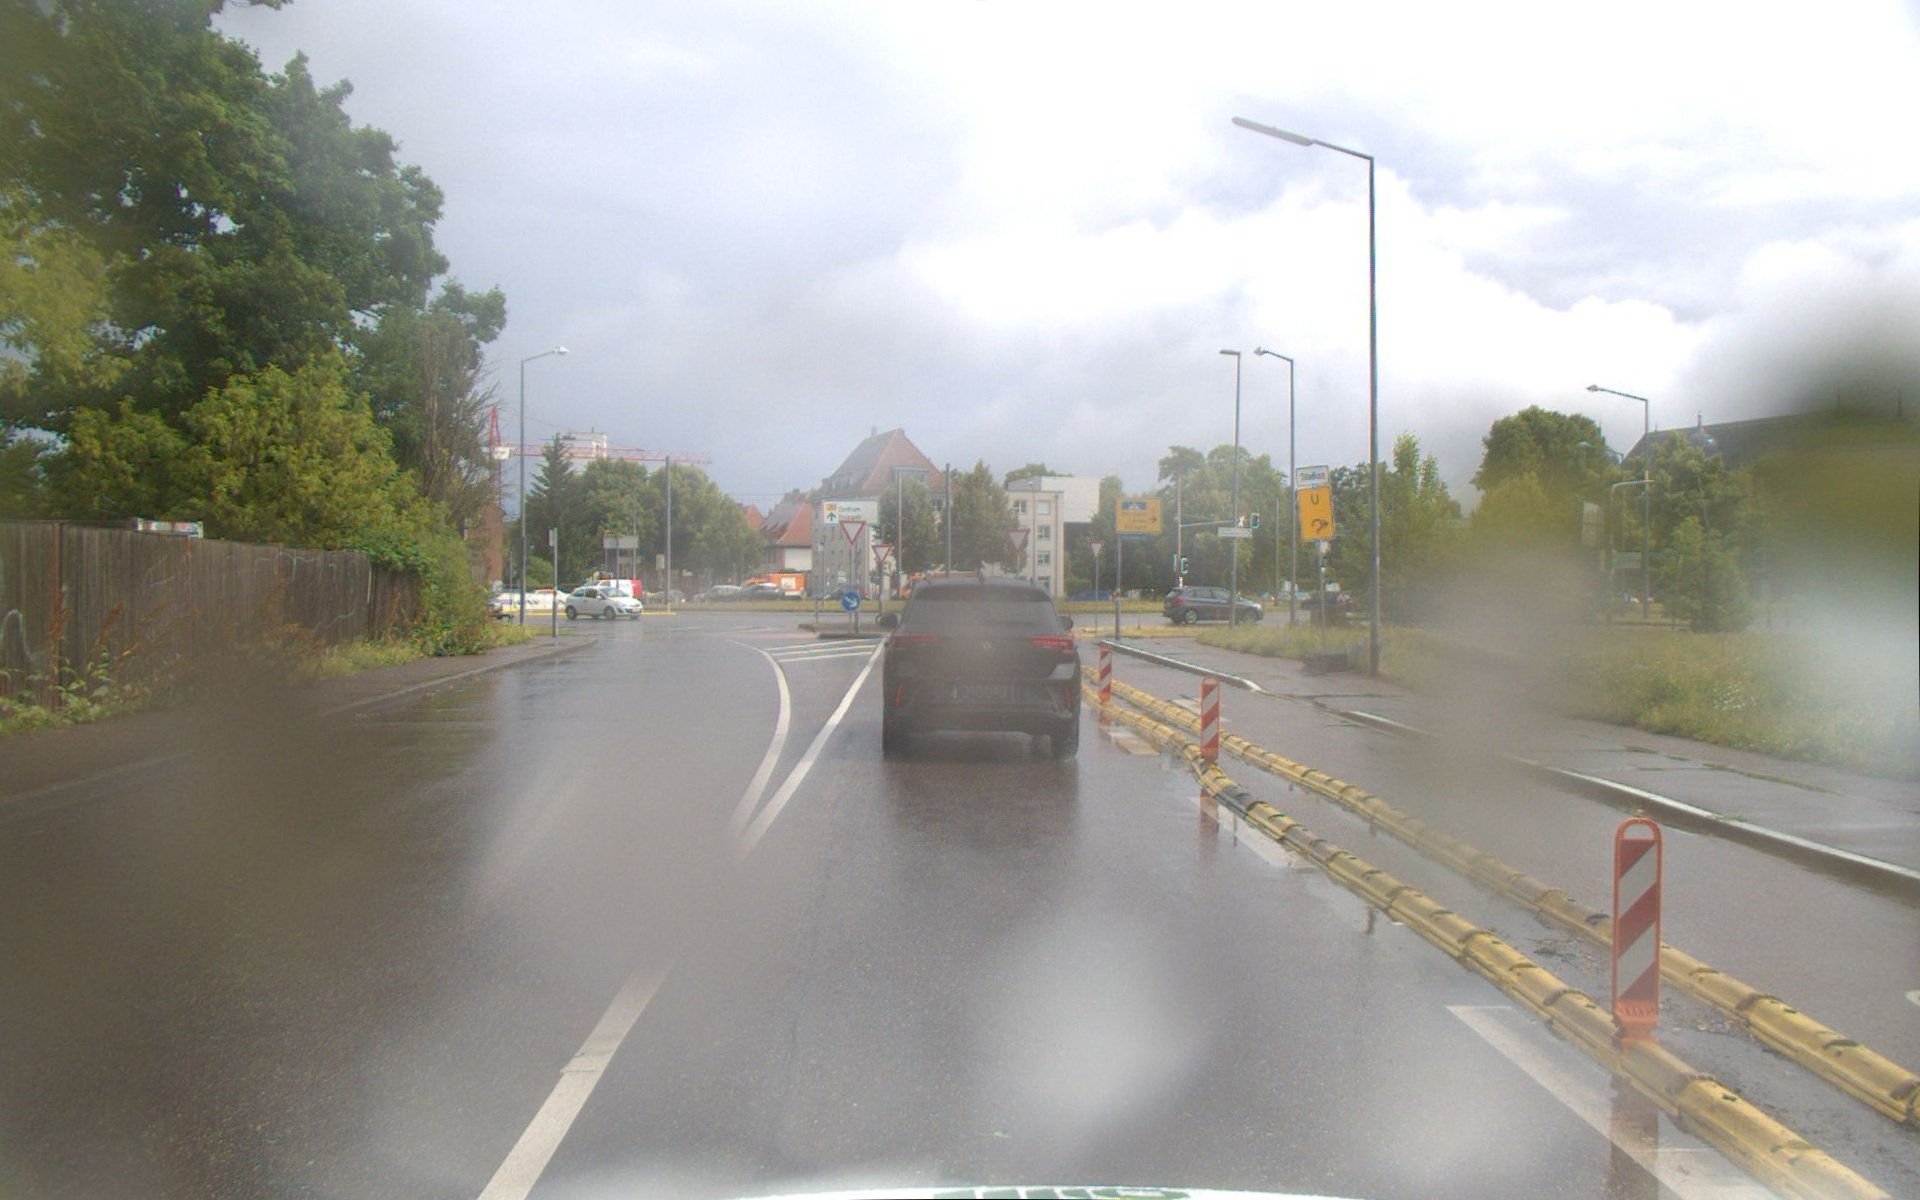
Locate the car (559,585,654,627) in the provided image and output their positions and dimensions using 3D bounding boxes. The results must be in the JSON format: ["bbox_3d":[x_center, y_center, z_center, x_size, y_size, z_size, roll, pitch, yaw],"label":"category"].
[{"bbox_3d":[-16.016,0.261,74.856,3.913,1.862,1.996,0,0,30],"label":"car"}]

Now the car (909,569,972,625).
[{"bbox_3d":[-0.633,-0.108,56.514,1.825,1.841,4.406,0,0,3],"label":"car"}]

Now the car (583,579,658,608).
[{"bbox_3d":[-22.877,-0.483,111.624,1.856,1.909,5.113,0,1,36],"label":"car"}]

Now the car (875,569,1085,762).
[{"bbox_3d":[0.083,0.550,15.788,1.675,1.601,3.679,1,0,-4],"label":"car"}]

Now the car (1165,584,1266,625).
[{"bbox_3d":[10.725,0.192,69.536,3.882,1.673,1.662,0,0,-19],"label":"car"}]

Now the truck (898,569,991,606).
[{"bbox_3d":[-1.148,-0.944,123.850,6.921,2.696,2.330,0,0,0],"label":"truck"}]

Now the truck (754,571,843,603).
[{"bbox_3d":[-12.654,-1.018,129.664,6.616,2.485,2.415,0,0,-25],"label":"truck"}]
